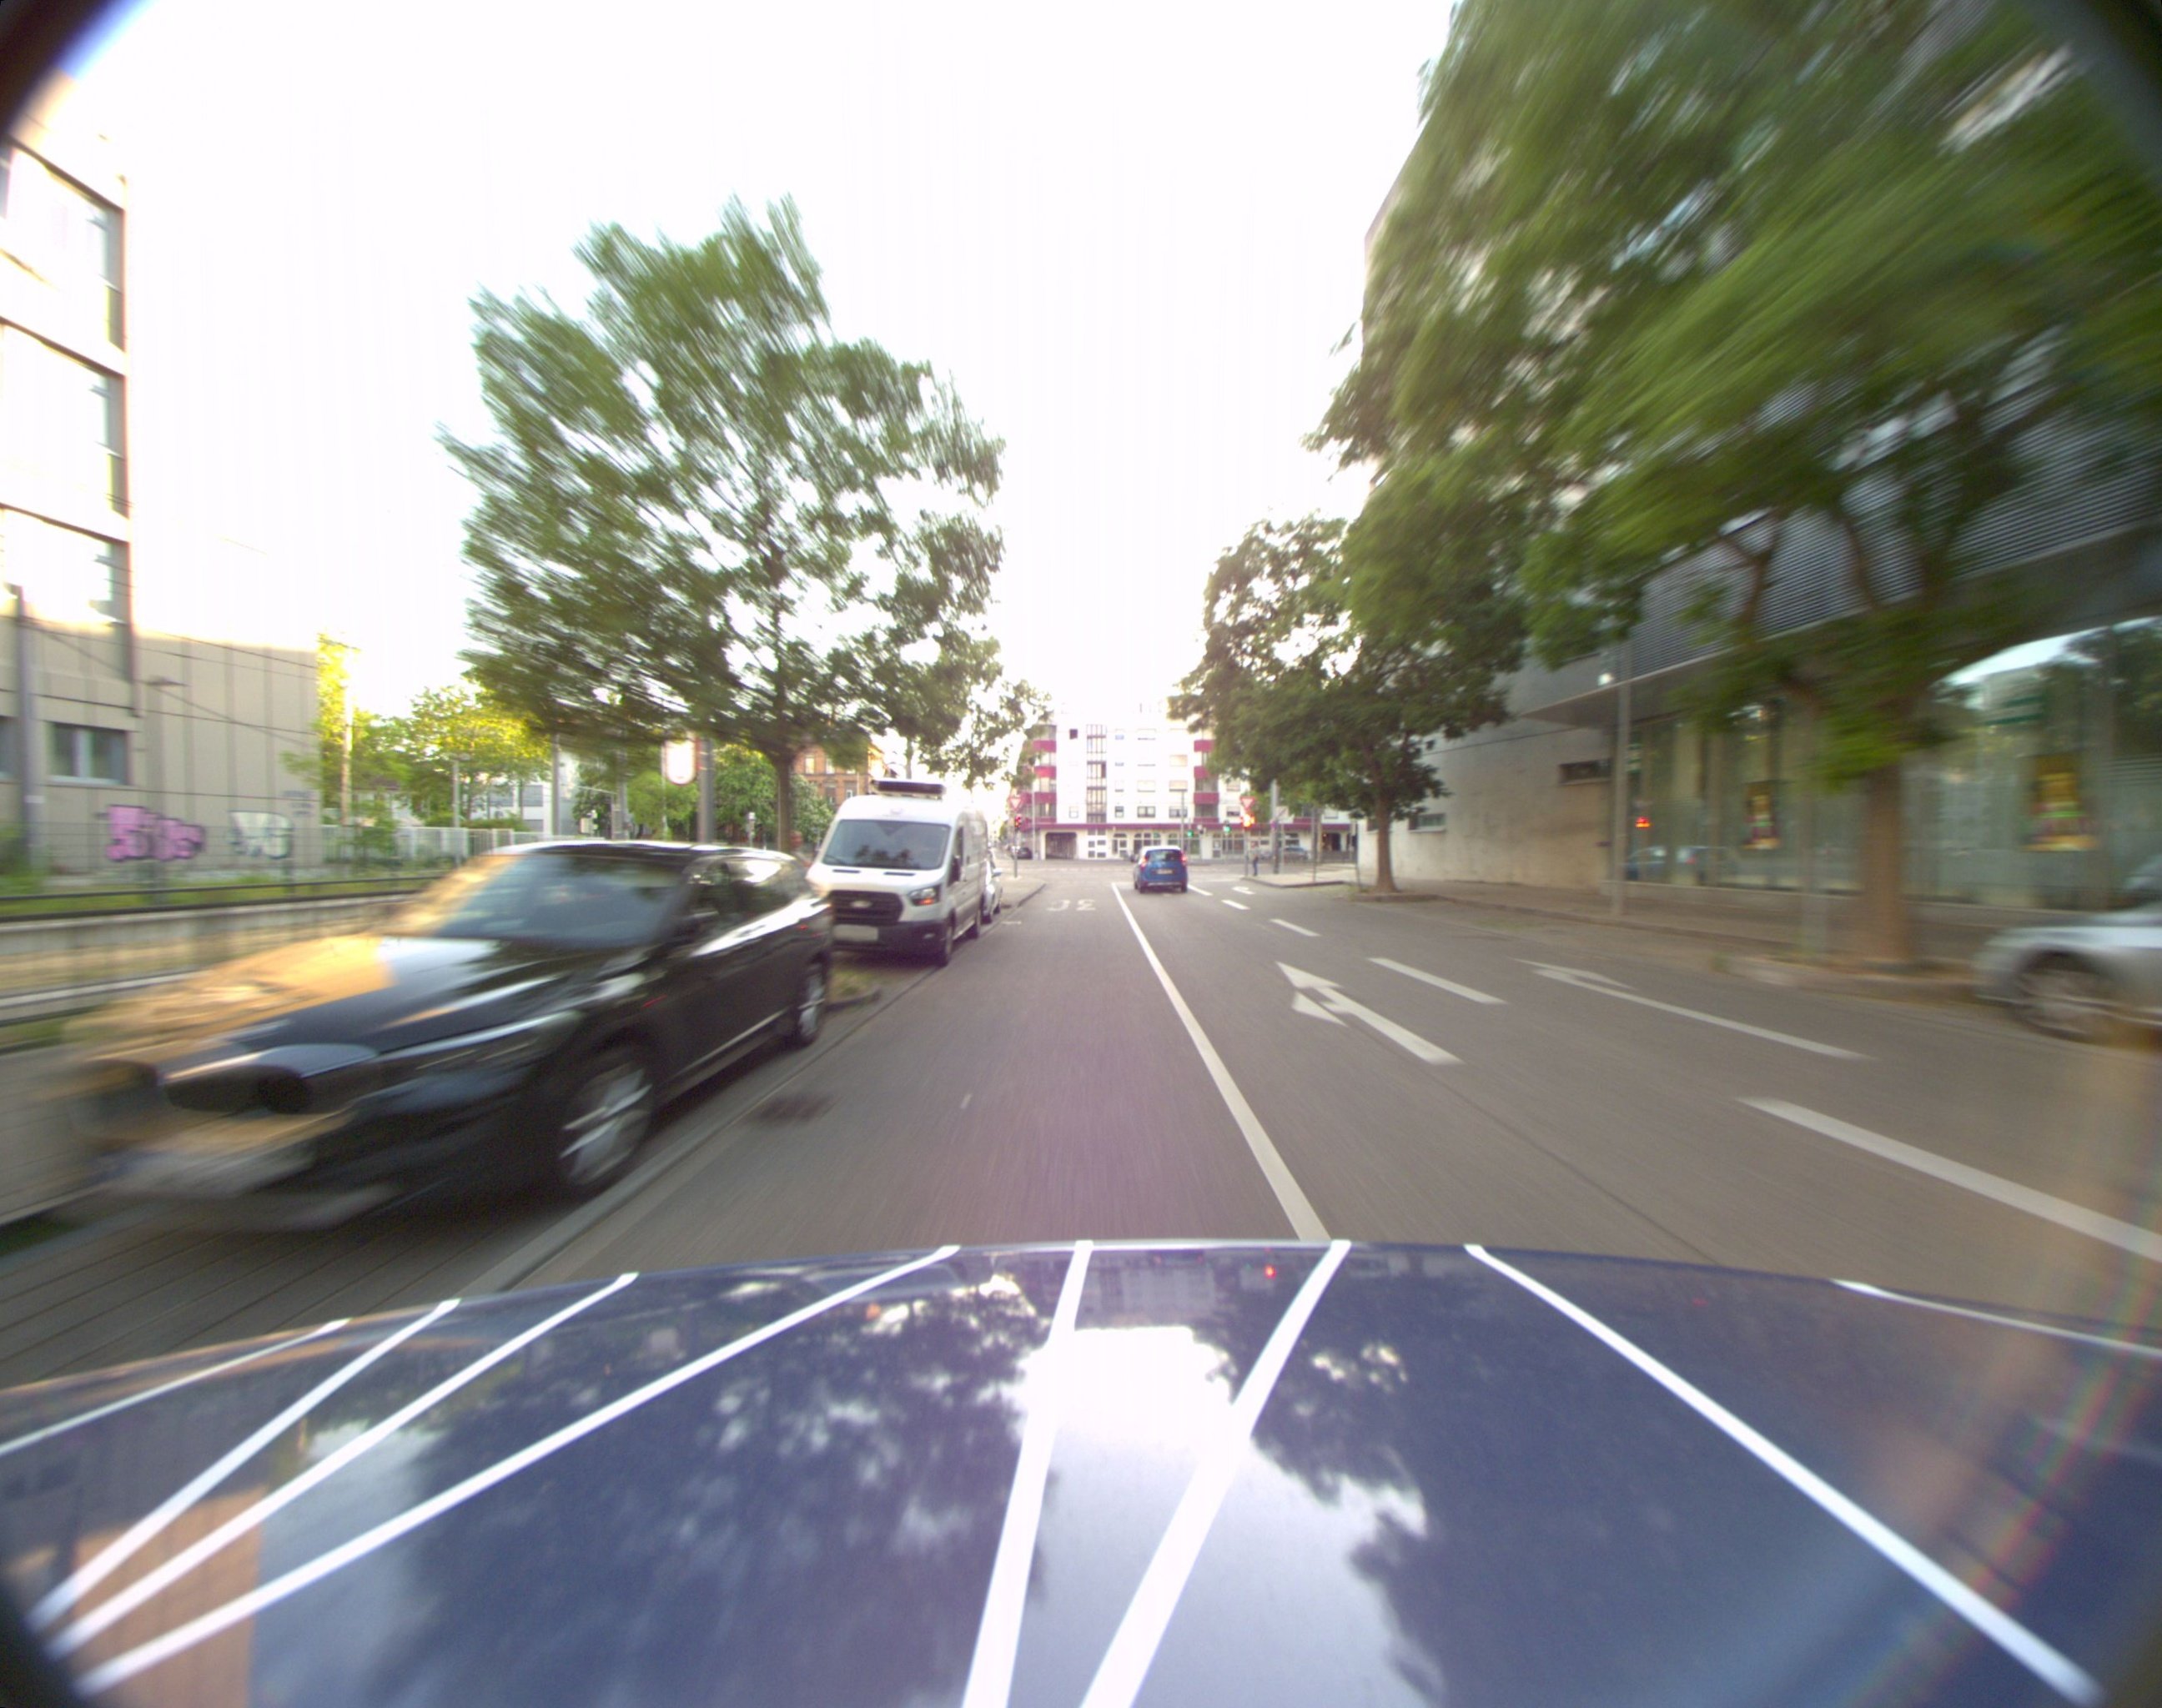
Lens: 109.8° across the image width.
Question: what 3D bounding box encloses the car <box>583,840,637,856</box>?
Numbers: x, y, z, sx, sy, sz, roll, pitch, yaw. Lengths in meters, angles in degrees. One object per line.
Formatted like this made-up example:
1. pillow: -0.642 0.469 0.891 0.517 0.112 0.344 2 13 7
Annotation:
1. car: -48.161 -0.663 77.713 4.229 1.623 1.999 0 1 -1

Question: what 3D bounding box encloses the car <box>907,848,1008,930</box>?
1. car: -2.755 0.707 17.769 1.752 1.574 4.011 3 1 -2

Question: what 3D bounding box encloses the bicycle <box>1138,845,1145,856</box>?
1. bicycle: 6.176 -0.357 78.214 0.515 1.040 1.902 0 1 -2

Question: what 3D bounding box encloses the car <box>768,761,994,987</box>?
1. car: -2.742 0.205 11.933 2.056 2.642 5.432 3 1 -1

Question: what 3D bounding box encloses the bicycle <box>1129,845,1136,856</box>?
1. bicycle: 5.326 -0.355 78.135 0.515 1.040 1.902 0 1 -2

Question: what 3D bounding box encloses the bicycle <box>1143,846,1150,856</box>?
1. bicycle: 6.775 -0.348 78.180 0.515 1.040 1.902 0 1 -2

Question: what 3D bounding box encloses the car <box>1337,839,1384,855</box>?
1. car: 28.088 -0.710 76.327 4.099 1.587 1.666 0 1 1

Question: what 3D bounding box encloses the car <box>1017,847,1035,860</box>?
1. car: -6.386 -0.123 88.164 2.007 1.449 4.294 0 1 -4

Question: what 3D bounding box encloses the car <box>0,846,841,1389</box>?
1. car: -2.973 0.814 4.511 1.712 1.634 4.266 1 1 0

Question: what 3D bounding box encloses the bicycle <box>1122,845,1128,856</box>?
1. bicycle: 4.520 -0.351 78.116 0.515 1.040 1.902 0 1 -2

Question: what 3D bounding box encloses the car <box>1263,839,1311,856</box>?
1. car: 19.784 -0.616 73.102 4.099 1.587 1.666 0 1 1

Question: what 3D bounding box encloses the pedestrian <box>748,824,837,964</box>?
1. pedestrian: -4.338 0.559 11.438 0.981 2.002 0.805 -2 2 -44

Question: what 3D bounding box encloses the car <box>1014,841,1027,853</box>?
1. car: -7.963 -0.940 100.002 1.786 1.449 4.294 0 1 -5

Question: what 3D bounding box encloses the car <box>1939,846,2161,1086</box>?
1. car: 7.771 0.736 3.813 1.707 1.453 4.626 -3 1 1

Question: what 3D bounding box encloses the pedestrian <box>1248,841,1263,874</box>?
1. pedestrian: 9.018 0.149 39.282 0.545 1.691 0.709 1 2 28

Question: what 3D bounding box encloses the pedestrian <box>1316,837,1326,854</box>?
1. pedestrian: 24.911 -0.870 78.996 0.835 1.796 0.691 0 2 2

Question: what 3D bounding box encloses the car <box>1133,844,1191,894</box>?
1. car: 2.909 0.492 28.015 1.752 1.669 4.273 -1 1 1

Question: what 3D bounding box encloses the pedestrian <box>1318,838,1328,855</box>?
1. pedestrian: 25.418 -0.763 79.931 0.835 1.796 0.691 0 2 2
